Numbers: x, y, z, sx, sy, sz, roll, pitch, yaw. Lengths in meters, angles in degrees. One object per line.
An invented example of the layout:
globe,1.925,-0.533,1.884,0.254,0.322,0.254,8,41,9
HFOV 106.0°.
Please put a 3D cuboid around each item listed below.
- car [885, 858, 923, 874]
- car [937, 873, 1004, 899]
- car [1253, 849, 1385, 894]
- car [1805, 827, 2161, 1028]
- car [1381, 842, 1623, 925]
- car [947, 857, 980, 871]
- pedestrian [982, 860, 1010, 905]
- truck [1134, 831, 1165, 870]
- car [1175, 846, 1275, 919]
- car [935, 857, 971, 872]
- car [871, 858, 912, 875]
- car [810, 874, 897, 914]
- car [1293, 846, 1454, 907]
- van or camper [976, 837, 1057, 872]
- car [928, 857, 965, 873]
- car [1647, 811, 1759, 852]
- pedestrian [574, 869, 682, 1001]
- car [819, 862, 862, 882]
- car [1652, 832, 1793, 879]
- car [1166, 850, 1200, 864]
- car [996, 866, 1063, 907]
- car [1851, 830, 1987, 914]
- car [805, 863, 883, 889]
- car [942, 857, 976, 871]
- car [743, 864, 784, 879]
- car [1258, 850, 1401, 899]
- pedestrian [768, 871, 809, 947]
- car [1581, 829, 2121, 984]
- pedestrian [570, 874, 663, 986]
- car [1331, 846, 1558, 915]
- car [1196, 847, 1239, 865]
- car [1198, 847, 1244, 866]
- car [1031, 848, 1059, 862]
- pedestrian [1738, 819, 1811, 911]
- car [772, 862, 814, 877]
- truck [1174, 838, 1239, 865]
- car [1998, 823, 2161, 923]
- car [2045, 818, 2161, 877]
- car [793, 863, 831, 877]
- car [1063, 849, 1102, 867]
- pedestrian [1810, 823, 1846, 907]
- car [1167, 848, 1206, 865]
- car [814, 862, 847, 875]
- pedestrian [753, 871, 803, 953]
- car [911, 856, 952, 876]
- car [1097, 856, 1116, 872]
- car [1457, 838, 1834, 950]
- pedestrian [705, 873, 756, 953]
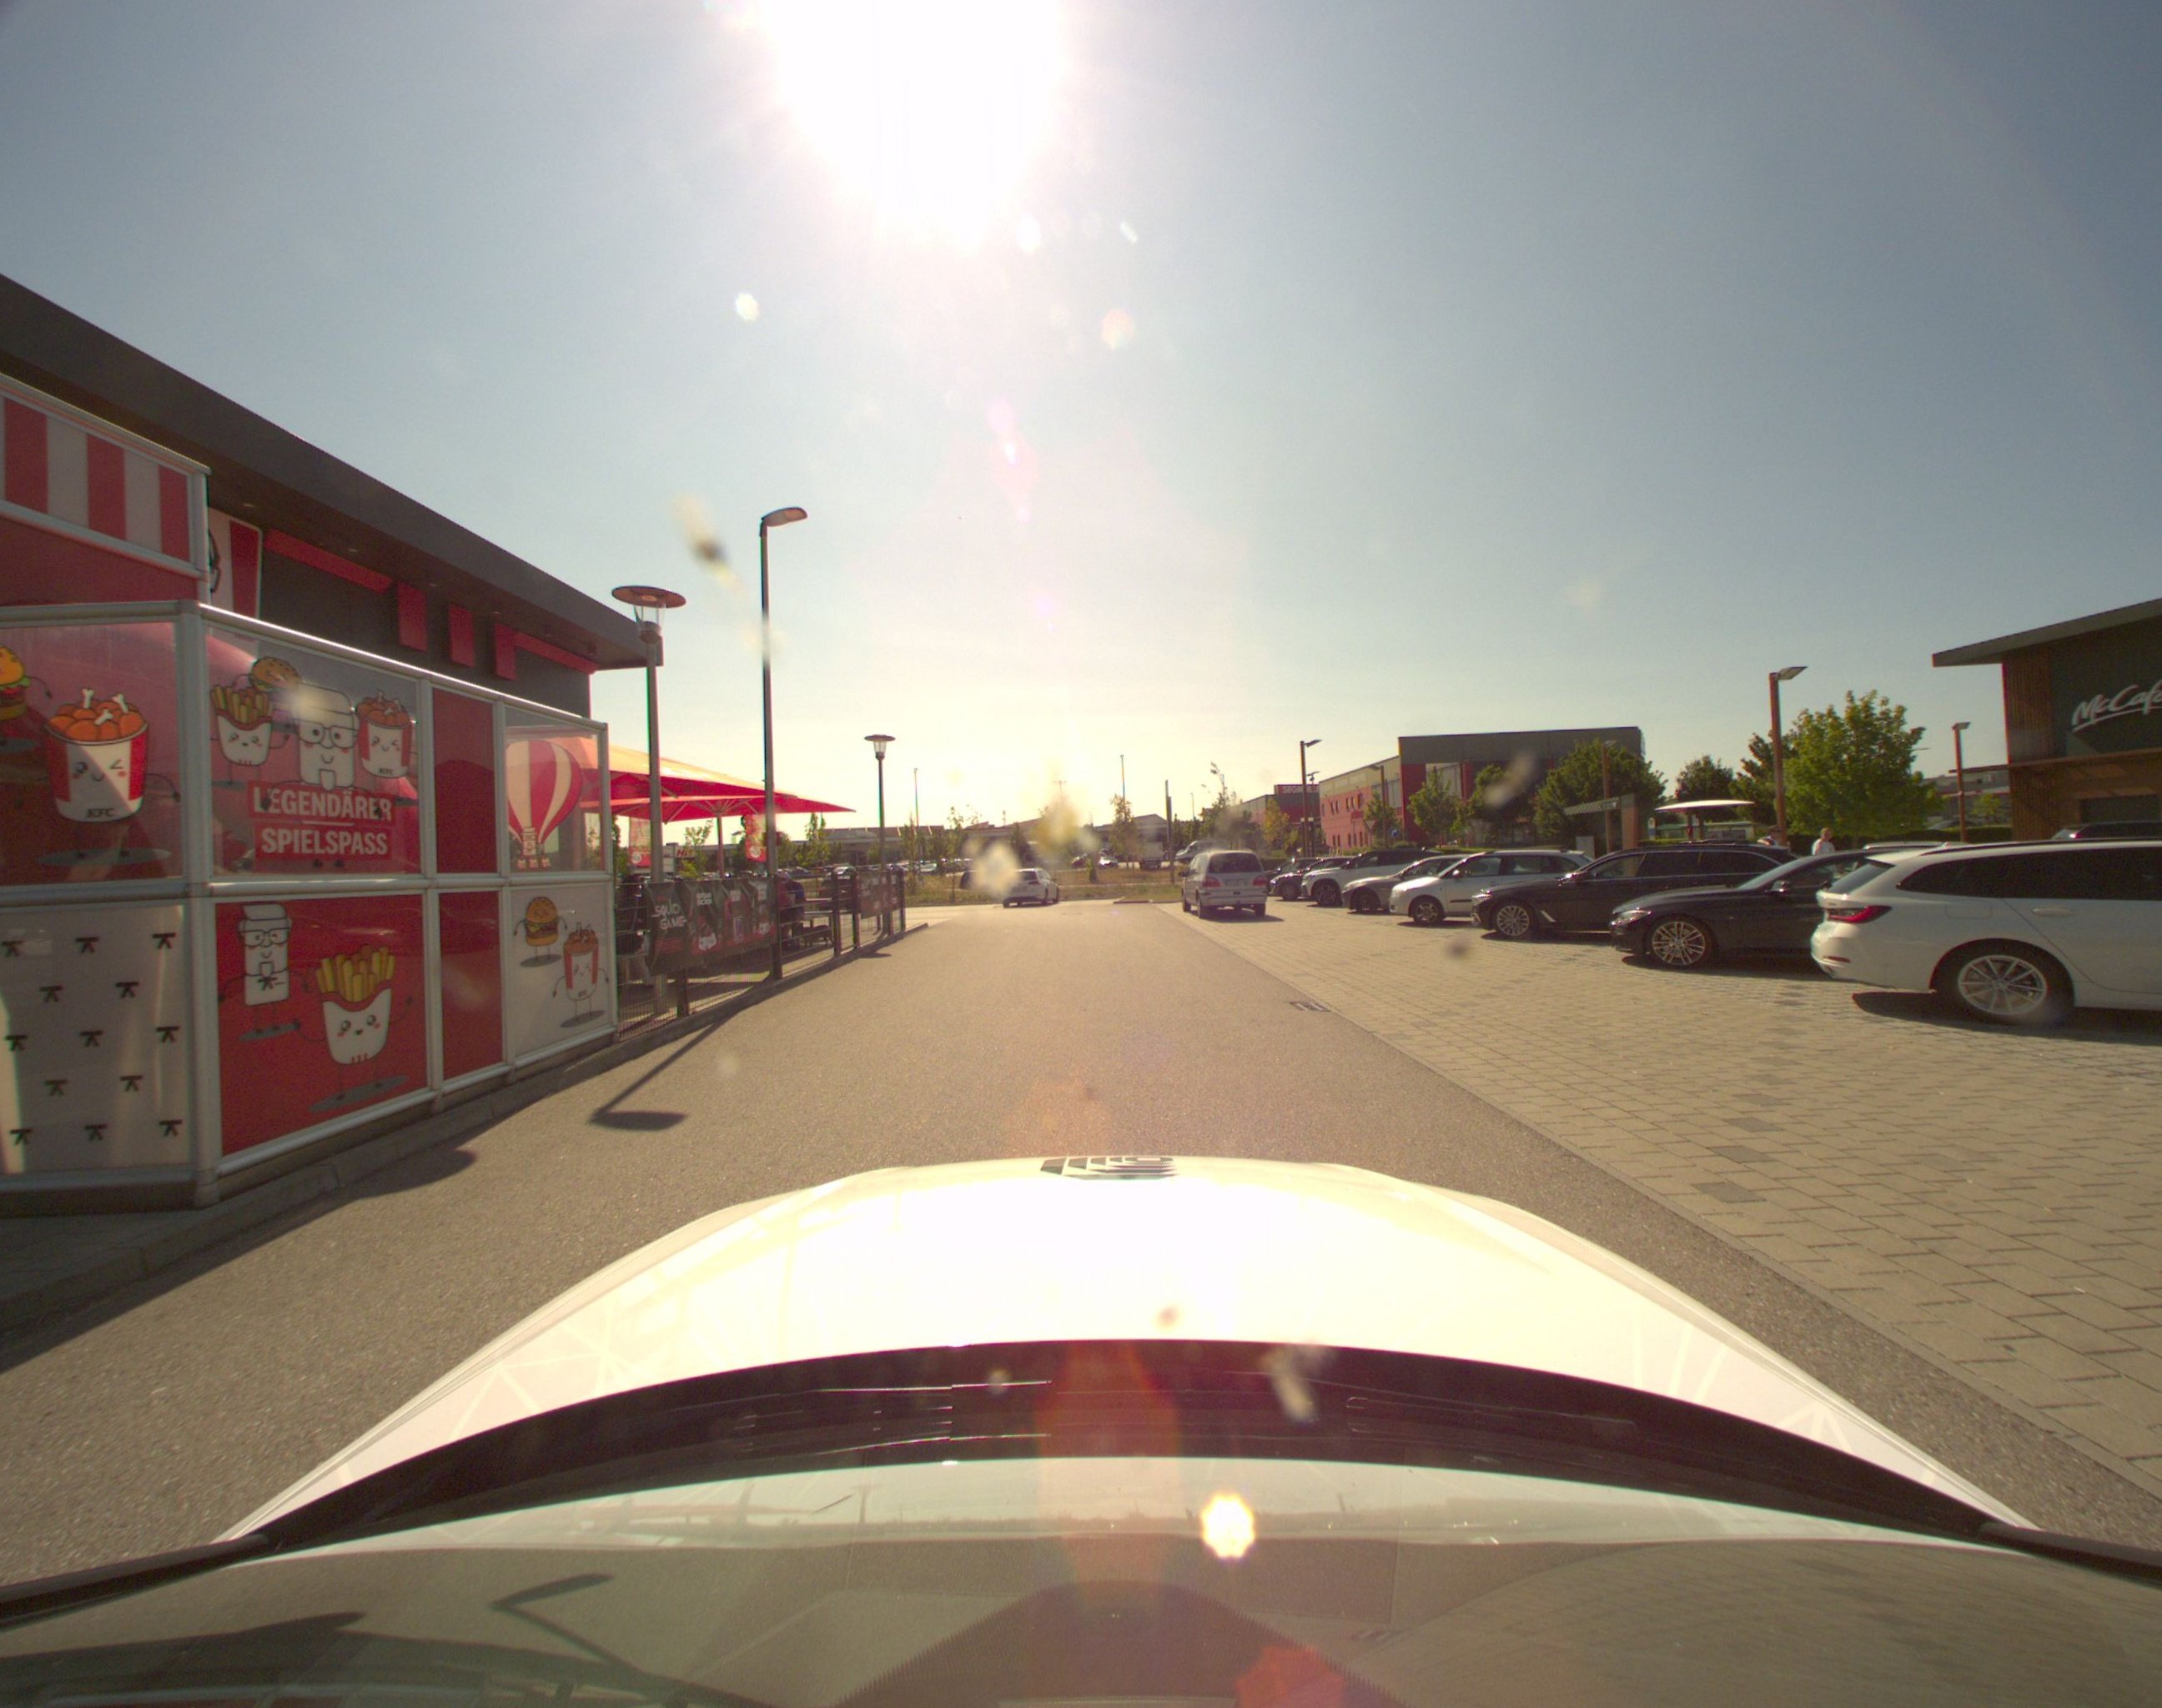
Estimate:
car,-22.847,1.548,105.211,4.378,1.855,1.955,-2,-1,-1
car,-7.149,2.050,52.829,3.970,1.495,1.678,-2,0,3
car,8.899,0.655,30.685,4.278,1.526,1.987,-2,0,43
car,8.761,0.514,6.400,4.526,1.459,1.848,-2,-1,41
car,8.555,0.594,16.792,4.153,1.526,1.987,-2,-1,29
car,-16.745,1.422,115.859,4.378,1.855,1.955,-2,-1,-1
pedestrian,-3.483,1.174,33.507,0.987,1.809,0.726,-2,-2,1
truck,6.560,-0.291,78.004,2.746,3.480,6.841,-2,0,5
car,3.867,0.744,22.715,1.822,1.748,4.680,-2,-1,-1
car,-16.770,1.368,106.791,4.378,1.855,1.955,-2,-1,-1
car,-22.622,1.440,97.166,4.378,1.855,1.955,-2,-1,-1
car,-9.332,1.592,33.797,1.817,1.469,4.362,-3,-2,7
car,8.648,0.661,24.132,4.153,1.654,1.988,-2,-1,31
van or camper,-6.327,0.055,79.386,7.951,3.101,2.435,-2,-1,32
car,-17.269,1.369,104.427,4.378,1.855,1.955,-2,-1,-1
car,36.689,-1.280,48.108,5.073,2.197,2.000,-2,-1,0
pedestrian,-5.037,0.875,9.096,0.660,1.387,0.809,-2,-1,8
car,-24.857,1.867,84.404,1.976,1.855,4.309,-2,0,23
car,25.662,0.050,32.676,4.216,1.691,1.993,-2,0,-6
car,14.000,0.441,112.106,4.378,1.855,1.955,-2,-1,-1
car,-1.986,1.266,32.789,1.817,1.469,4.490,-3,-2,7
car,16.922,0.317,16.553,1.690,1.493,4.139,-3,-1,45
car,-17.734,1.616,61.086,5.185,1.731,1.991,-2,0,3
car,-16.845,1.407,112.755,4.378,1.855,1.955,-2,-1,-1
car,-44.837,2.486,114.957,4.908,2.014,2.078,-2,-1,-6
car,8.392,0.694,27.601,4.152,1.526,1.988,-2,-1,36
pedestrian,-5.113,0.943,14.260,0.613,1.273,0.620,-2,-1,-17
car,8.646,0.538,9.728,4.314,1.459,1.848,-2,-1,39
pedestrian,-5.724,0.921,10.068,0.660,1.304,0.714,-2,-1,8
car,8.962,0.647,20.291,4.783,1.526,1.988,-2,-1,37
car,15.003,0.202,89.903,4.378,1.855,1.955,-2,-1,-1
car,14.552,0.255,84.647,4.378,1.855,1.955,-2,-1,-1
car,-5.345,0.187,121.209,3.972,2.014,2.001,-2,-1,2
pedestrian,14.458,0.232,17.007,0.764,1.849,0.835,-2,-1,4
car,-36.799,1.976,104.125,4.545,1.855,1.955,-2,-1,-1
truck,14.271,-0.311,92.553,7.015,2.814,1.954,-2,-1,-2
car,17.575,0.268,14.192,1.790,1.515,4.139,-3,-1,45
car,30.990,-0.221,23.069,4.410,1.602,1.975,-2,-1,38
car,-37.070,2.216,112.253,4.545,1.855,1.955,-2,-1,-1
car,0.129,0.416,91.460,4.241,1.855,1.869,-2,-1,-1
pedestrian,15.951,0.228,17.404,0.461,1.768,0.556,-2,-1,37
car,12.854,0.327,99.461,4.378,1.855,1.955,-2,-1,-1
car,-38.303,2.149,124.742,4.378,1.855,1.955,-2,-1,-1
pedestrian,-5.004,0.933,13.493,0.685,1.273,0.837,-2,-1,-17
car,-14.896,1.162,81.458,1.932,1.855,4.429,-2,0,23
car,2.503,0.944,78.454,1.642,1.459,3.971,-2,0,4
car,8.917,0.587,13.190,4.722,1.486,1.988,-2,-1,41
pedestrian,-5.805,0.960,13.518,0.685,1.273,0.548,-2,-1,-17
